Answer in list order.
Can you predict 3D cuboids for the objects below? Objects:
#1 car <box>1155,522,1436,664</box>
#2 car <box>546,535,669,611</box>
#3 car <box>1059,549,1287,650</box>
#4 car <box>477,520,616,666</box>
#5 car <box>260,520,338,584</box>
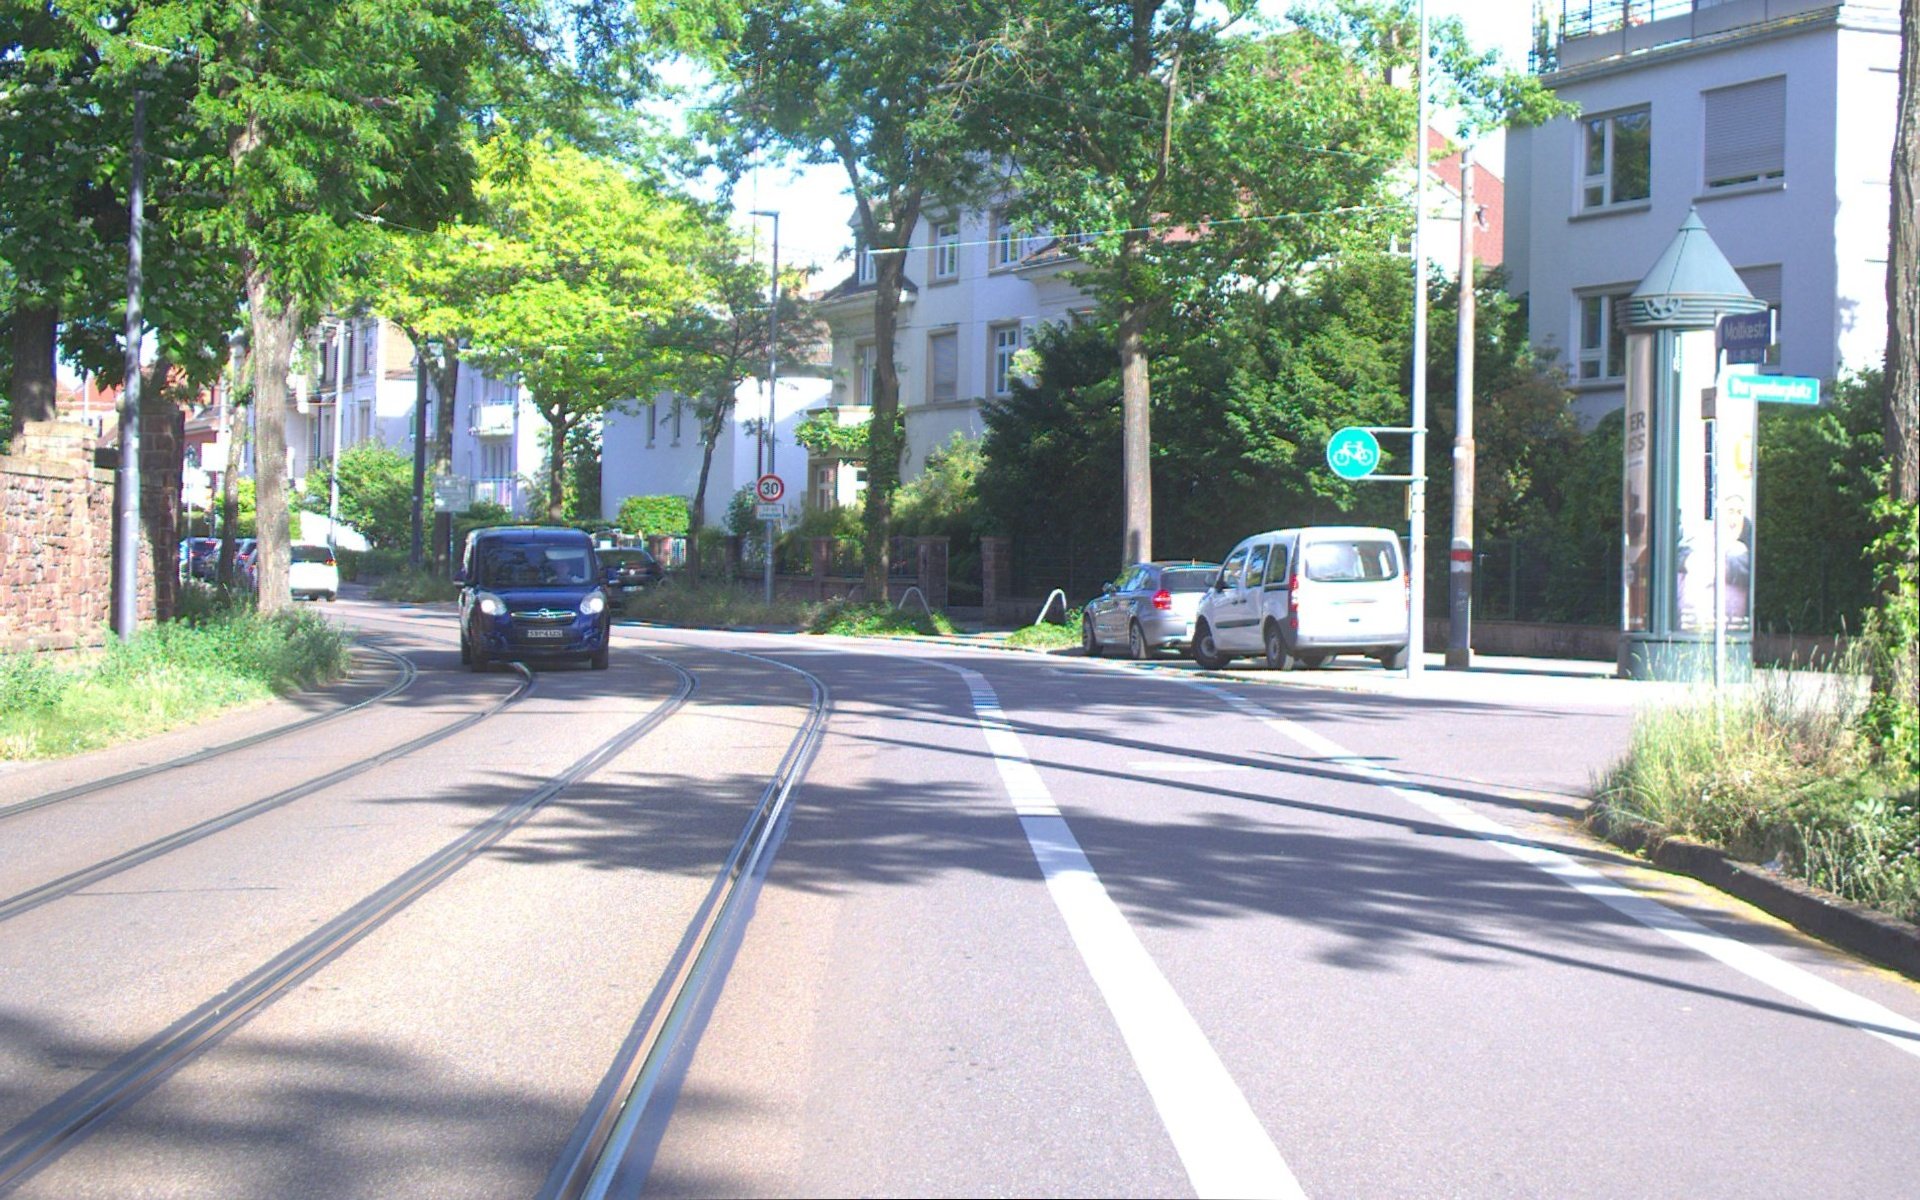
[{"bbox_3d":[4.309,-0.130,45.003,2.022,1.741,4.753,1,1,-16],"label":"car"},{"bbox_3d":[-8.521,-0.683,82.799,1.804,1.688,4.730,-3,2,-20],"label":"car"},{"bbox_3d":[3.093,-0.027,50.890,1.993,1.418,4.334,1,0,-17],"label":"car"},{"bbox_3d":[-5.334,-0.120,44.734,1.632,1.786,4.339,1,1,-5],"label":"car"},{"bbox_3d":[-18.131,-1.292,94.215,1.892,1.605,4.230,1,-1,-13],"label":"car"}]
